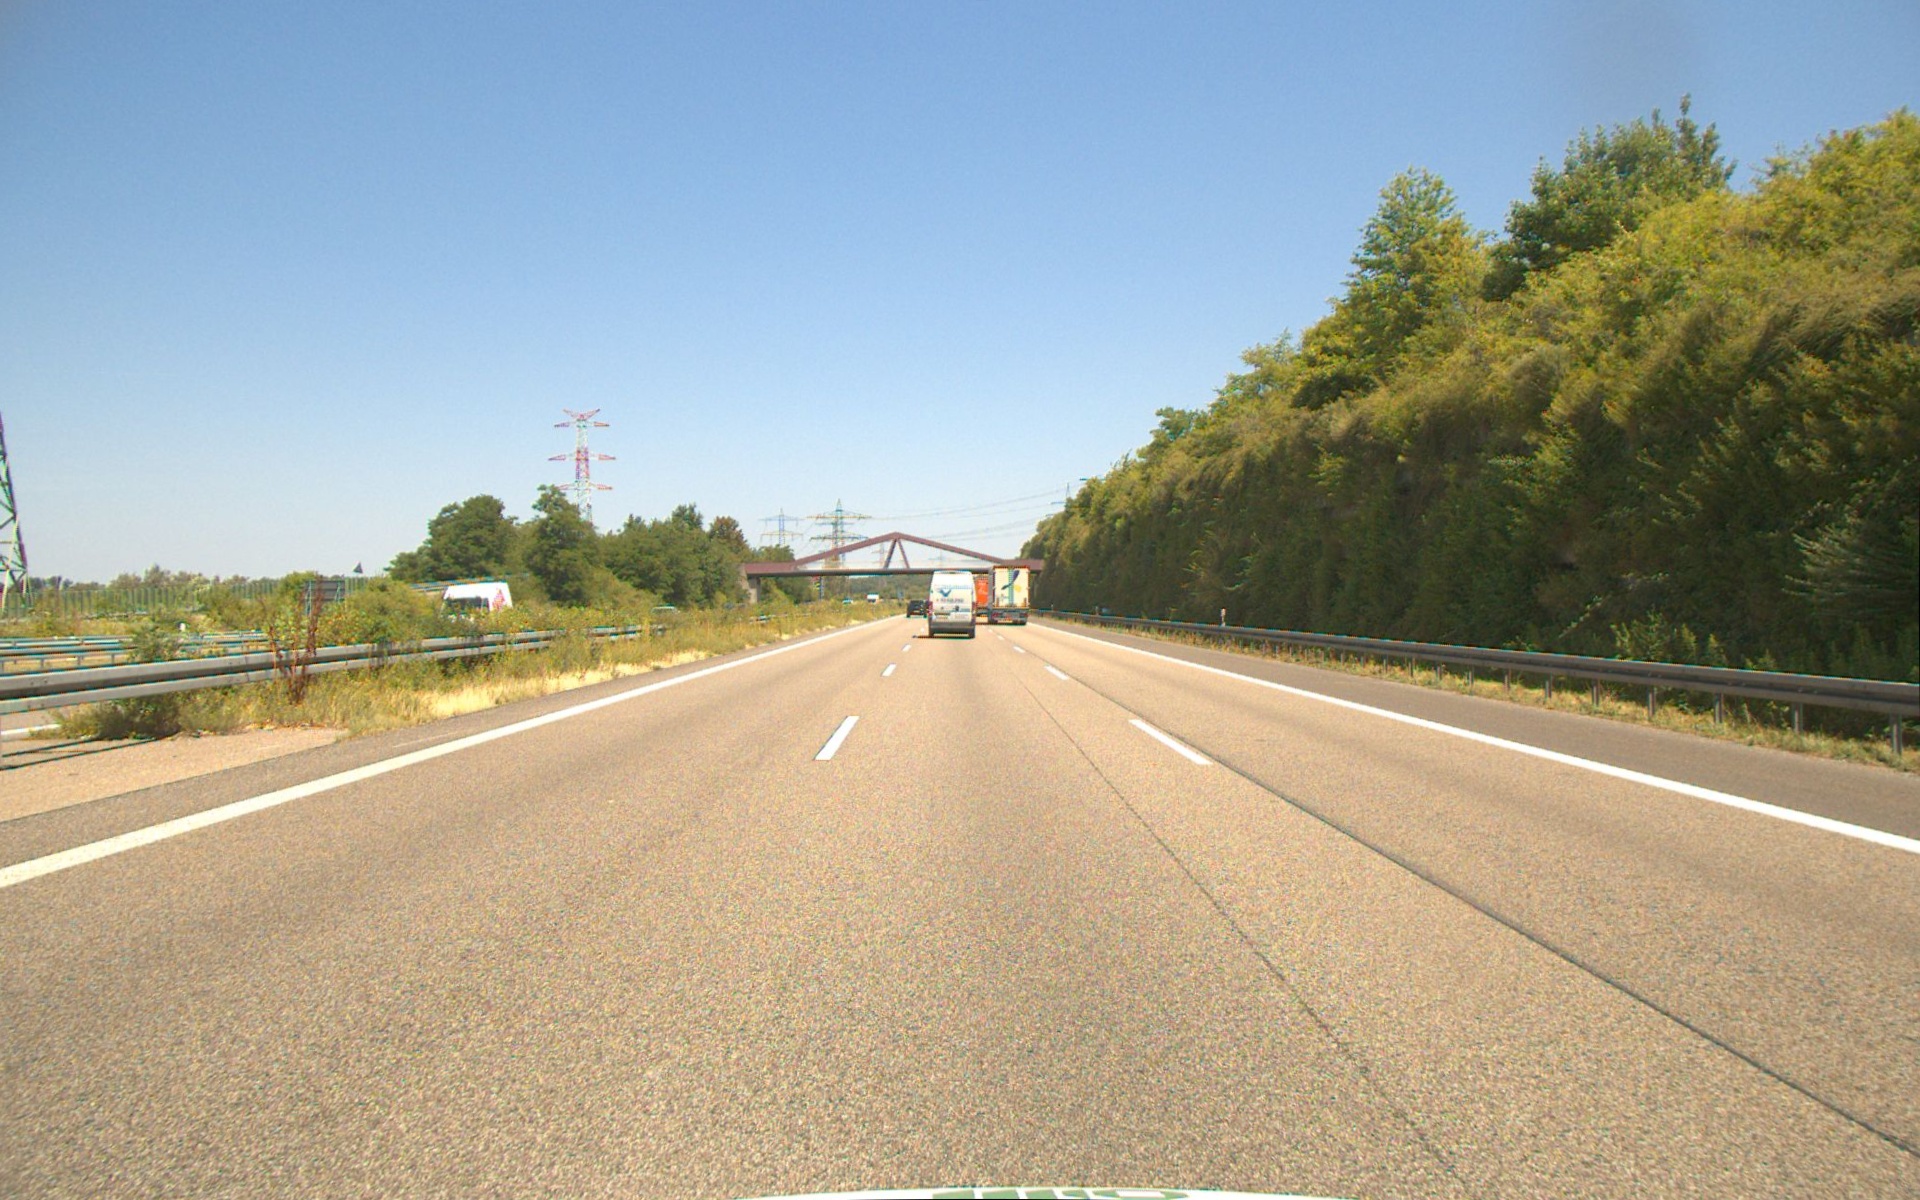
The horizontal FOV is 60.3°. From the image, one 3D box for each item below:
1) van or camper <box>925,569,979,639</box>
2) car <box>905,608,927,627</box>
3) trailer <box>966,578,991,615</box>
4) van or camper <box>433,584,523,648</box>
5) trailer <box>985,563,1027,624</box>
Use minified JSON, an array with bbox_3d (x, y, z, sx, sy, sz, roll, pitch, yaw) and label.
[{"bbox_3d":[-0.365,0.159,71.294,2.185,2.831,5.422,2,0,-1],"label":"van or camper"},{"bbox_3d":[-4.238,1.693,161.157,1.941,1.849,3.813,2,0,1],"label":"car"},{"bbox_3d":[2.050,-0.349,183.565,2.583,3.965,7.068,1,0,0],"label":"trailer"},{"bbox_3d":[-20.635,0.641,71.113,2.017,2.569,6.389,2,0,-1],"label":"van or camper"},{"bbox_3d":[3.224,-0.444,119.166,2.583,4.131,12.365,1,0,0],"label":"trailer"}]
